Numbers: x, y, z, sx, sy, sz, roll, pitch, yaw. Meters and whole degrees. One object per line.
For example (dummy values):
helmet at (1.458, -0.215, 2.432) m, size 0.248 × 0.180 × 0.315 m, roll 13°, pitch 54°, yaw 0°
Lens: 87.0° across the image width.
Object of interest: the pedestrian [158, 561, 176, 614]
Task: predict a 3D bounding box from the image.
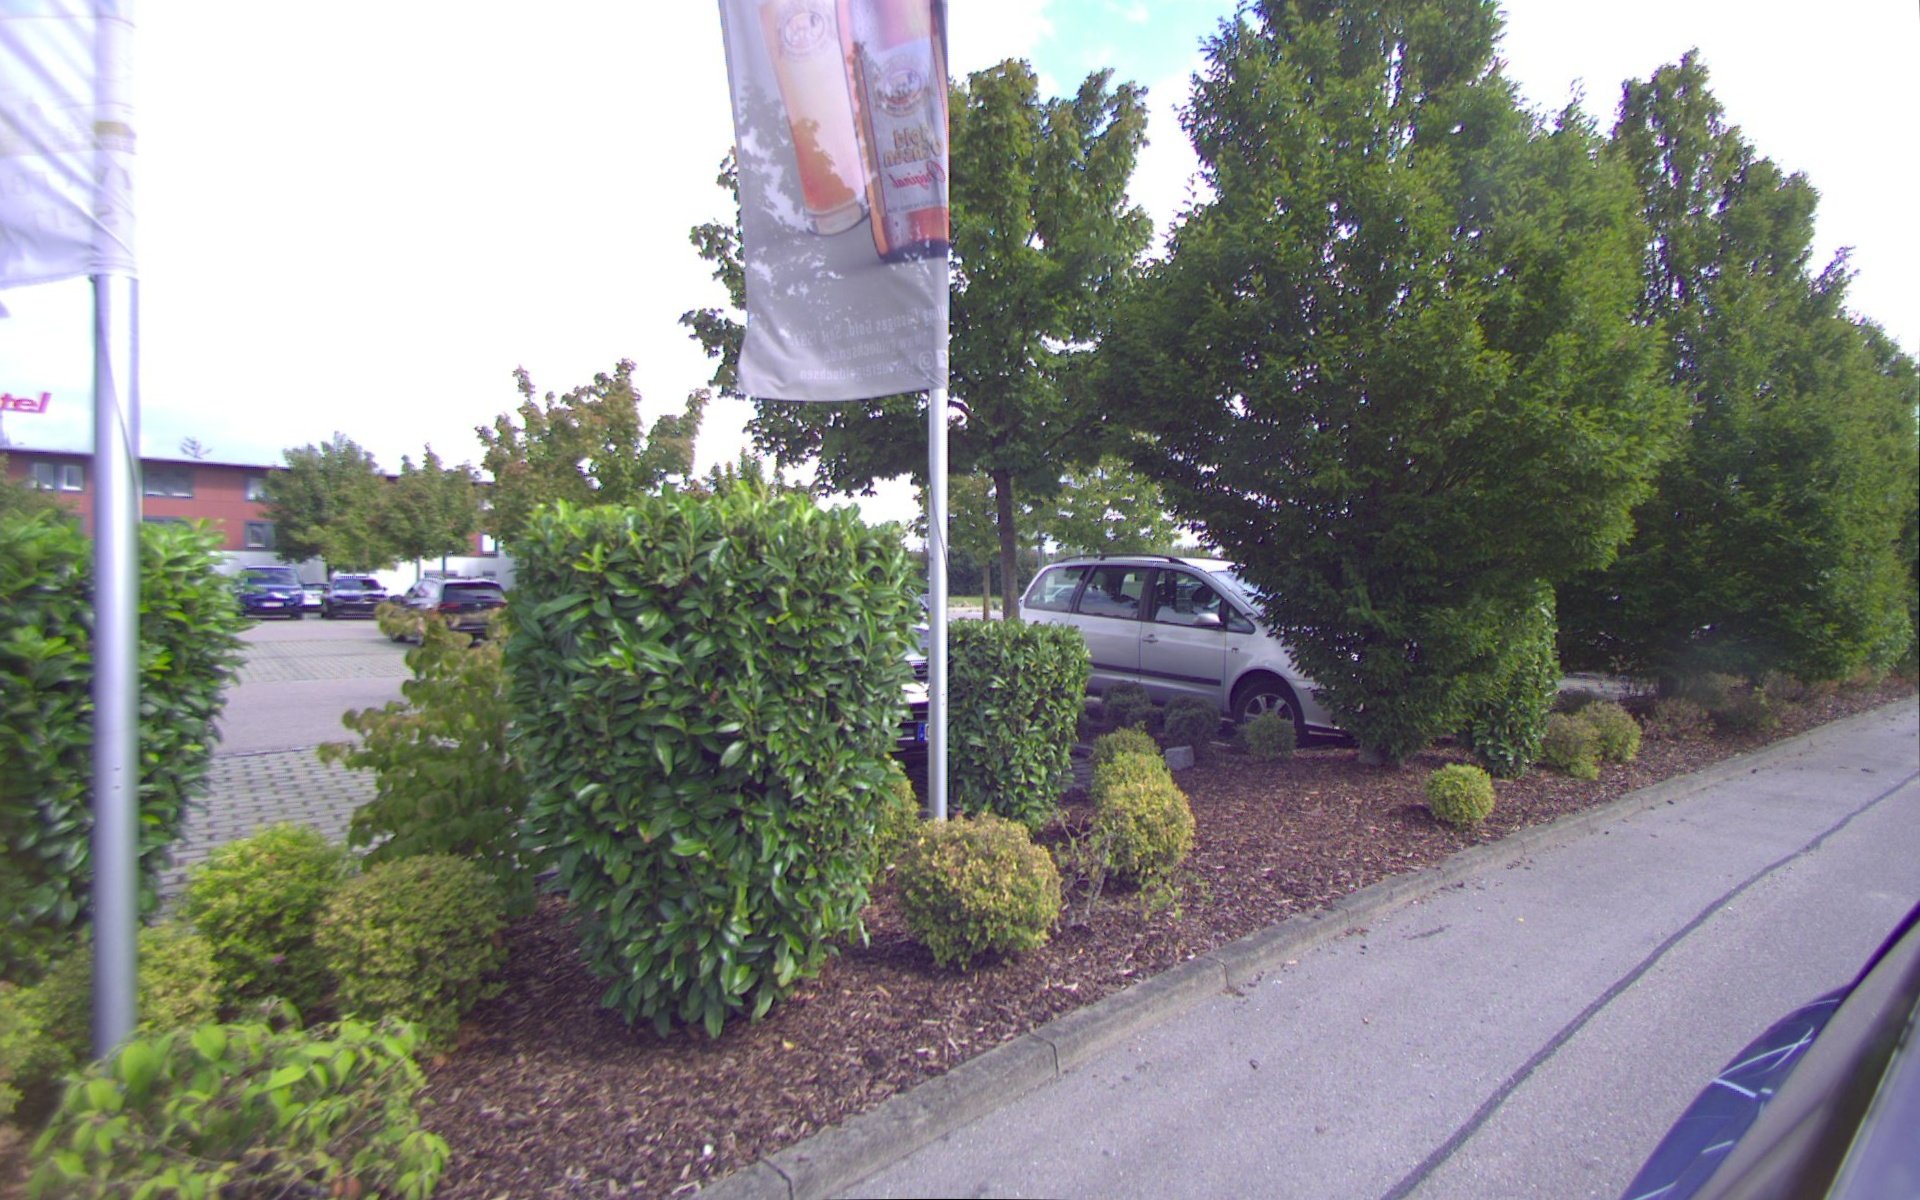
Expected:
pedestrian at (-26.309, -0.406, 33.583) m, size 0.409 × 1.746 × 0.477 m, roll 1°, pitch -1°, yaw -42°

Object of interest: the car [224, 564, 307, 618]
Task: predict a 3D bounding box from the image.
car at (-22.772, -0.286, 33.146) m, size 1.737 × 1.677 × 3.992 m, roll 1°, pitch 0°, yaw -42°

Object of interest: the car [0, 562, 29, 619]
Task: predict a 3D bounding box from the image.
car at (-27.189, -0.260, 28.189) m, size 1.792 × 1.519 × 3.838 m, roll 1°, pitch 0°, yaw -42°

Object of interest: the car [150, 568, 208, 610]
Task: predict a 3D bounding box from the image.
car at (-34.431, -0.465, 44.567) m, size 1.737 × 1.742 × 3.992 m, roll 1°, pitch 0°, yaw -42°

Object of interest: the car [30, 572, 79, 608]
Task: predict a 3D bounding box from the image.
car at (-45.479, -0.474, 50.854) m, size 1.737 × 1.742 × 3.992 m, roll 1°, pitch 0°, yaw -42°

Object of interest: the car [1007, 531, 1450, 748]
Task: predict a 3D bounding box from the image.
car at (2.467, 0.309, 10.366) m, size 1.626 × 1.738 × 4.363 m, roll 1°, pitch 0°, yaw -36°

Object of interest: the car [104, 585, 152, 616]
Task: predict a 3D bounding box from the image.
car at (-43.527, 0.000, 52.916) m, size 1.756 × 1.564 × 3.992 m, roll 1°, pitch 0°, yaw -42°

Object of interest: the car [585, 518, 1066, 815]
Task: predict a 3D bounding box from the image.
car at (-1.417, 0.307, 8.294) m, size 1.883 × 1.717 × 4.679 m, roll 0°, pitch 2°, yaw -37°

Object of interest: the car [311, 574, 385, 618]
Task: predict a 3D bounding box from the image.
car at (-20.566, -0.124, 33.952) m, size 1.502 × 1.391 × 3.471 m, roll 1°, pitch 0°, yaw -42°

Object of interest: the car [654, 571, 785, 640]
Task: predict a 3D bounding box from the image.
car at (-6.131, 0.136, 25.490) m, size 1.961 × 1.591 × 4.001 m, roll 1°, pitch 0°, yaw -34°

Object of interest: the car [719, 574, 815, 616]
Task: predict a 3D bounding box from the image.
car at (-7.483, -0.184, 39.024) m, size 1.964 × 1.549 × 3.995 m, roll 1°, pitch 0°, yaw -40°

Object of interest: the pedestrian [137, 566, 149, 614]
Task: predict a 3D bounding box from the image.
pedestrian at (-26.979, -0.324, 33.429) m, size 0.283 × 1.570 × 0.196 m, roll 1°, pitch -1°, yaw -44°

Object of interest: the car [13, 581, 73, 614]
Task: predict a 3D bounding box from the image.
car at (-37.482, -0.092, 41.401) m, size 1.737 × 1.294 × 3.992 m, roll 1°, pitch 0°, yaw -42°

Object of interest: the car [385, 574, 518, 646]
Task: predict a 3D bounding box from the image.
car at (-10.822, 0.185, 21.385) m, size 1.690 × 1.363 × 4.272 m, roll 1°, pitch 0°, yaw -38°

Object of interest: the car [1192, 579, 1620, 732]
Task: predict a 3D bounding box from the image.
car at (4.701, 0.487, 11.144) m, size 1.695 × 1.367 × 3.995 m, roll 1°, pitch 0°, yaw -40°

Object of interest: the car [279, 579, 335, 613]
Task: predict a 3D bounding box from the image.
car at (-28.113, -0.165, 43.523) m, size 1.502 × 1.391 × 3.471 m, roll 1°, pitch 0°, yaw -42°
